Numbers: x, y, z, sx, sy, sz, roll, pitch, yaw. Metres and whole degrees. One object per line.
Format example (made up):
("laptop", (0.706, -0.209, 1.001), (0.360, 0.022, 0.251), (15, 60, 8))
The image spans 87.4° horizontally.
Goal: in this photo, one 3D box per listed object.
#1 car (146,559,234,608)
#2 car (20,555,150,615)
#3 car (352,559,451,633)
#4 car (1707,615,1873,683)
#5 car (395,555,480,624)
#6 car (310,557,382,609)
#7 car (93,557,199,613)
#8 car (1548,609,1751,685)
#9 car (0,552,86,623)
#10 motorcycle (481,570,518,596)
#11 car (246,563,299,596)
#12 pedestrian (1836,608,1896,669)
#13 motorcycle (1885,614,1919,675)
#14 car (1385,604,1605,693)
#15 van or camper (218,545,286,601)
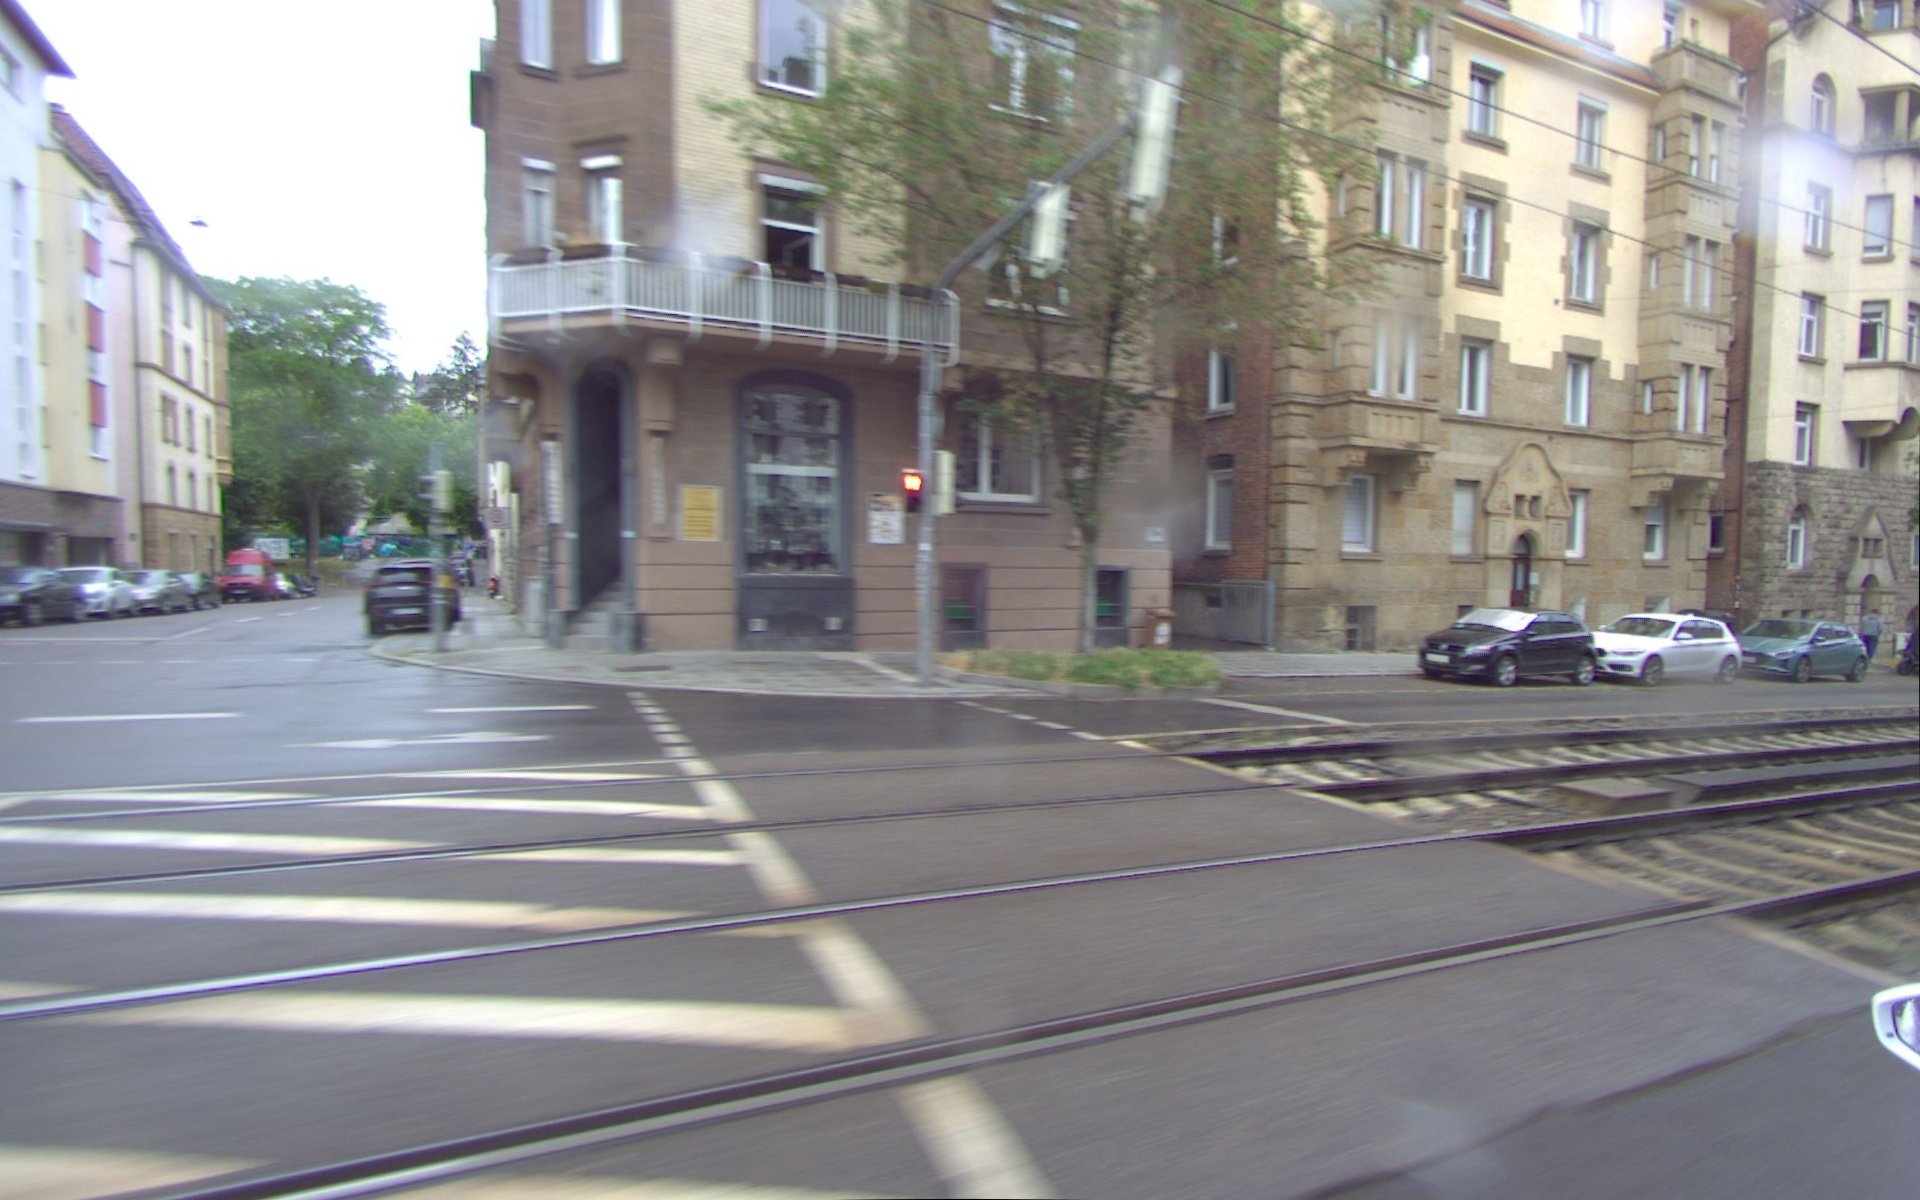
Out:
("car", (-28.071, -0.621, 36.755), (1.768, 1.639, 3.972), (2, 1, -26))
("car", (-24.129, -0.410, 27.868), (1.795, 1.502, 3.971), (2, 0, -28))
("car", (-13.395, -0.146, 24.298), (1.819, 1.586, 4.196), (2, 1, -26))
("car", (20.108, 1.177, 24.311), (4.092, 1.457, 1.555), (2, 1, -27))
("car", (-15.274, -0.343, 29.544), (1.786, 1.836, 3.978), (2, 1, -22))
("car", (-21.541, -0.623, 35.362), (1.812, 1.690, 3.972), (2, 1, -27))
("car", (-25.982, -0.507, 32.192), (1.768, 1.639, 3.972), (2, 1, -26))
("car", (14.874, 1.015, 21.656), (4.205, 1.445, 1.662), (2, 1, -25))
("car", (-21.679, -0.314, 23.034), (1.699, 1.511, 3.968), (2, 0, -30))
("motorcycle", (-23.558, -0.868, 51.429), (0.874, 1.274, 2.854), (2, 1, -7))
("car", (-36.573, -1.096, 53.513), (1.768, 1.639, 3.972), (2, 1, -26))
("pedestrian", (28.408, 1.203, 31.494), (0.912, 1.777, 1.003), (2, 3, -26))
("motorcycle", (27.449, 1.294, 28.050), (1.284, 1.664, 2.238), (1, 2, -43))
("car", (10.434, 0.946, 19.577), (3.947, 1.506, 1.759), (3, 1, -26))
("van or camper", (-34.123, -1.293, 48.509), (1.911, 2.512, 4.712), (2, 1, -26))
